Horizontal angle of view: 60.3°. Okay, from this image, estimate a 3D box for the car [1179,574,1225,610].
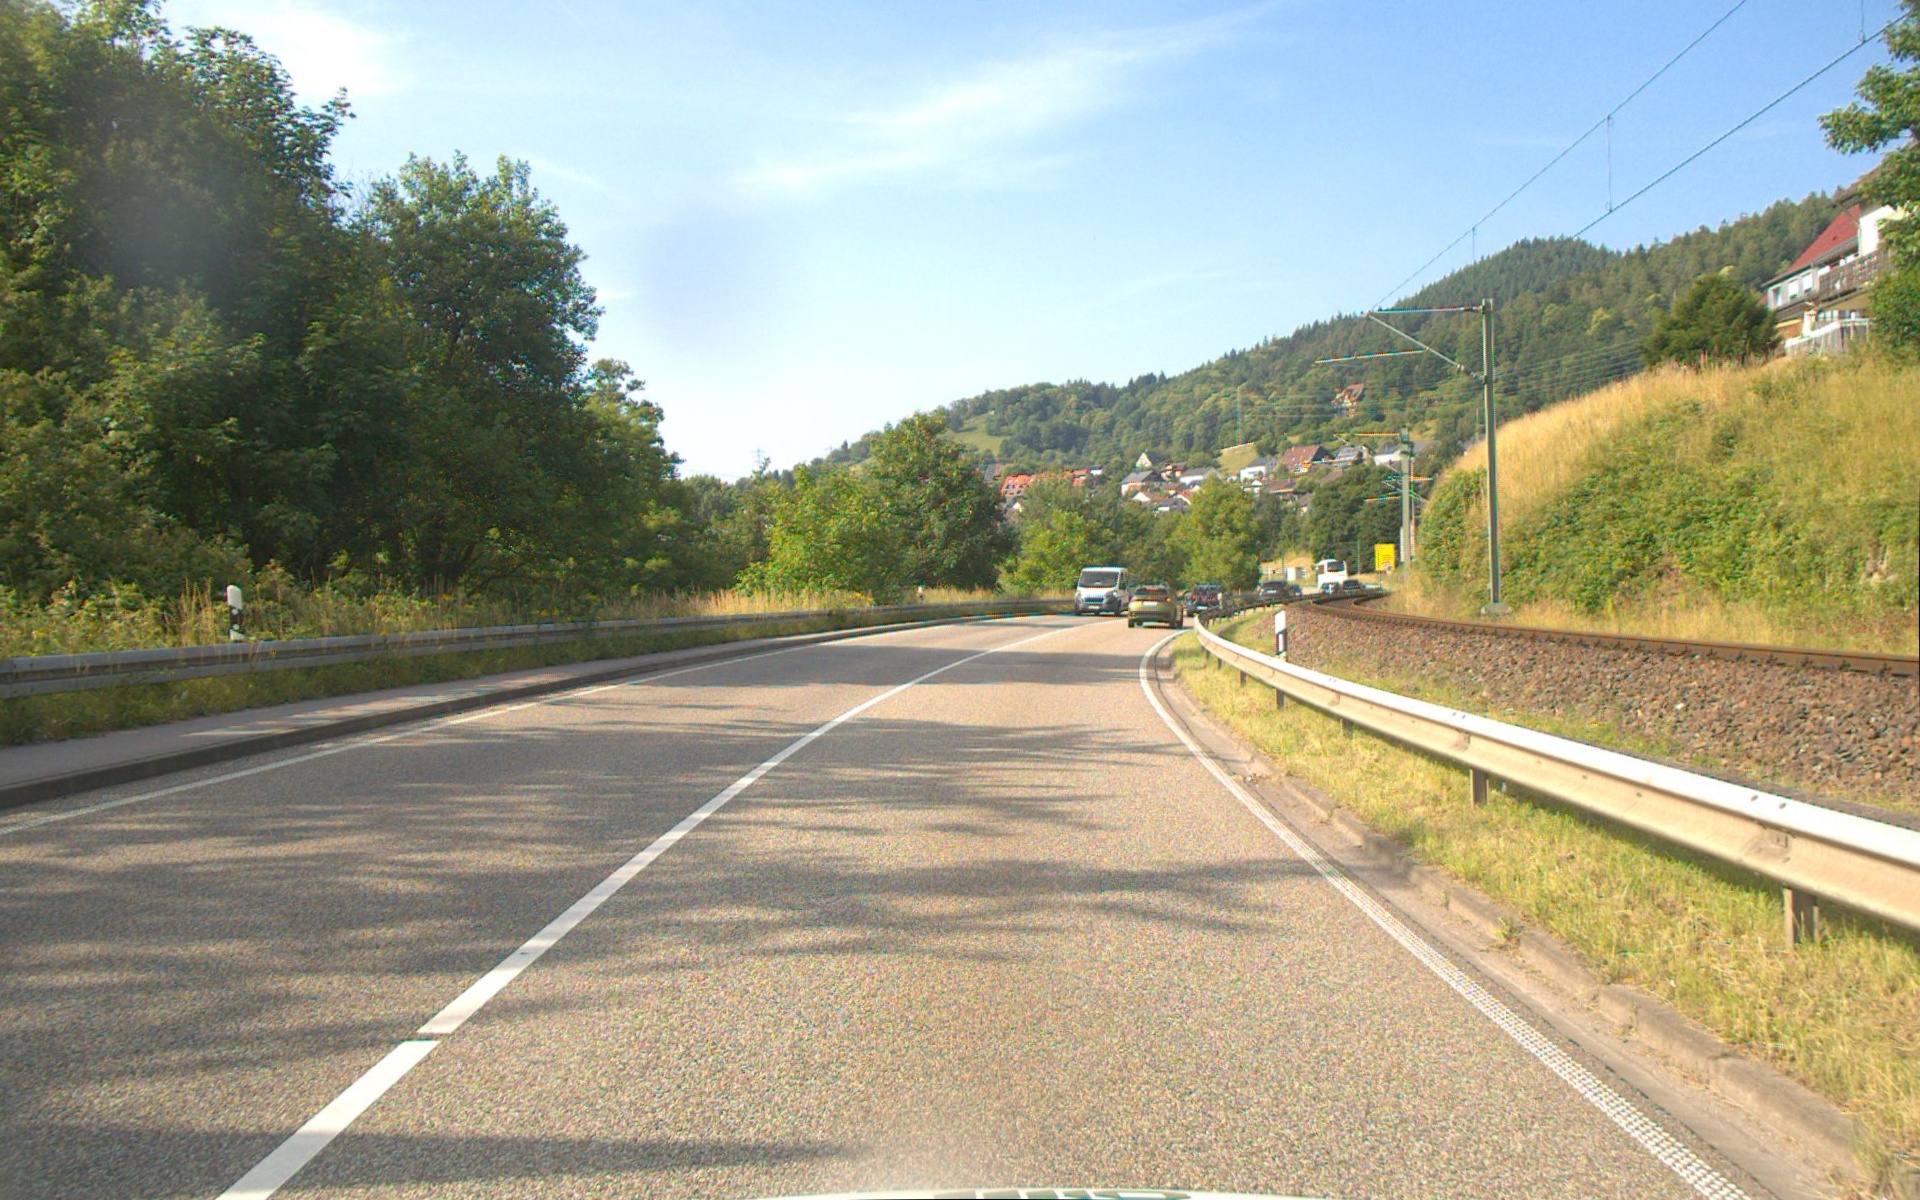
[{"bbox_3d":[11.193,-0.393,76.347,1.632,1.586,4.003,0,1,16],"label":"car"}]

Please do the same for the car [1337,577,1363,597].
[{"bbox_3d":[36.377,-1.239,154.222,2.020,1.843,4.001,0,0,19],"label":"car"}]

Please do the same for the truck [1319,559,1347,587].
[{"bbox_3d":[42.244,-3.050,187.295,2.654,3.138,6.114,1,1,9],"label":"truck"}]

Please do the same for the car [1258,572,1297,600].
[{"bbox_3d":[19.791,-0.890,102.952,1.840,1.716,4.002,0,1,18],"label":"car"}]

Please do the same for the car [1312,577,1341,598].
[{"bbox_3d":[28.080,-0.946,126.731,1.810,1.553,3.664,1,1,19],"label":"car"}]

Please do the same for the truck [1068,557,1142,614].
[{"bbox_3d":[6.734,-0.650,76.026,2.111,2.407,6.750,2,1,15],"label":"truck"}]

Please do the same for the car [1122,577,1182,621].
[{"bbox_3d":[6.991,-0.047,59.997,1.678,1.480,4.003,2,1,13],"label":"car"}]
